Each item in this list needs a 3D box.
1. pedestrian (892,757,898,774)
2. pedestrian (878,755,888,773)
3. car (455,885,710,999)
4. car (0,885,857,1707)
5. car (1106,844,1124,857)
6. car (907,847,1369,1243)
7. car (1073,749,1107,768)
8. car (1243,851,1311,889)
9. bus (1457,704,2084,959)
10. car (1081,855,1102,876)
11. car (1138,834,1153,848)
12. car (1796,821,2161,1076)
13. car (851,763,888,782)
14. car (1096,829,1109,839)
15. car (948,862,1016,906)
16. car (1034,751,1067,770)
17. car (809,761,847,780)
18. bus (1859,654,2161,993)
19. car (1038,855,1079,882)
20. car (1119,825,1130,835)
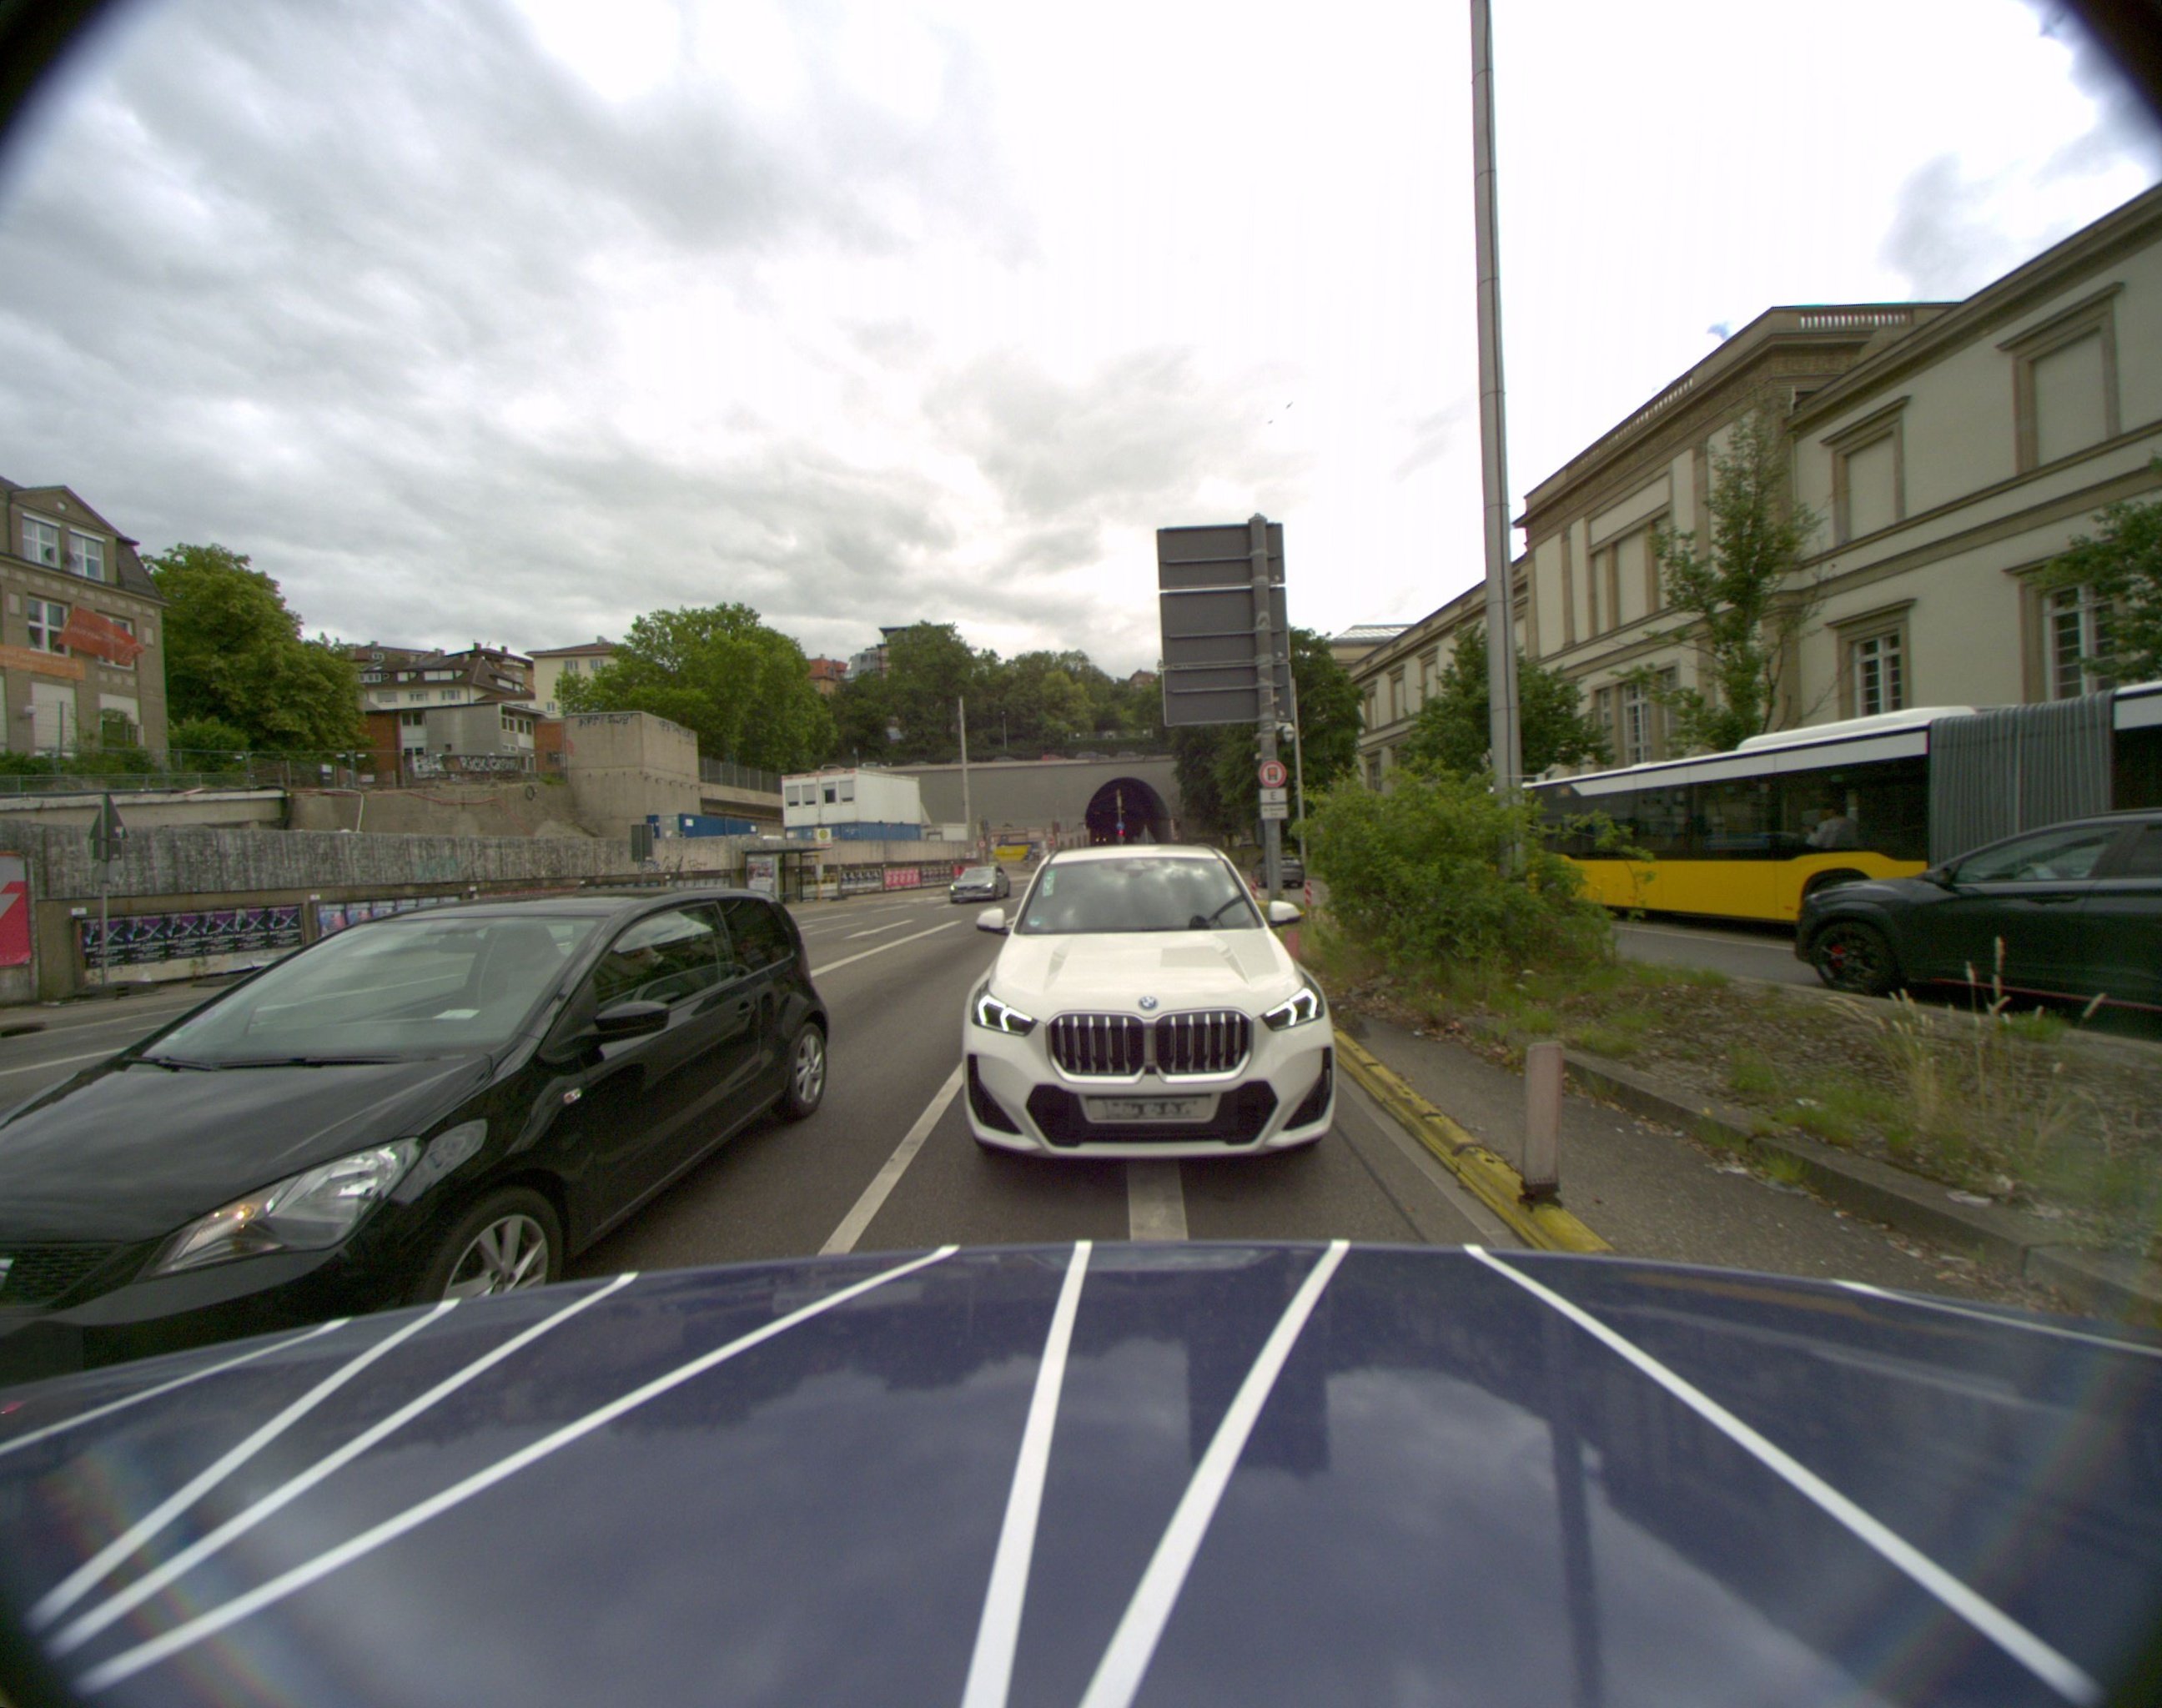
[{"bbox_3d":[-23.289,-11.064,95.280,0.581,2.002,0.577,-2,1,-3],"label":"pedestrian"},{"bbox_3d":[-23.632,-10.763,90.729,0.851,2.002,0.905,-3,1,-3],"label":"pedestrian"},{"bbox_3d":[-8.561,1.417,13.548,1.663,1.471,4.000,-3,0,3],"label":"car"},{"bbox_3d":[-2.502,1.006,3.401,1.667,1.487,3.882,-3,0,2],"label":"car"},{"bbox_3d":[3.727,-0.393,83.802,1.728,1.310,4.000,-3,0,1],"label":"car"},{"bbox_3d":[0.298,0.801,5.111,1.848,1.581,3.882,-3,0,2],"label":"car"},{"bbox_3d":[1.115,-11.813,94.478,3.998,2.002,1.999,-2,1,-2],"label":"car"},{"bbox_3d":[8.462,0.645,33.197,1.711,1.505,4.287,0,0,-3],"label":"car"},{"bbox_3d":[11.168,-0.292,14.495,2.853,3.096,9.747,-3,0,-1],"label":"bus"},{"bbox_3d":[0.875,0.952,65.183,1.705,1.550,4.550,-3,0,1],"label":"car"},{"bbox_3d":[8.214,-1.647,96.985,1.667,1.582,3.882,-1,0,2],"label":"car"},{"bbox_3d":[7.656,0.575,5.255,1.701,1.580,3.882,-3,0,-1],"label":"car"},{"bbox_3d":[-26.000,-10.055,93.368,3.998,2.002,1.999,-2,1,-5],"label":"car"},{"bbox_3d":[3.346,-3.069,119.185,1.730,1.435,4.001,-3,0,5],"label":"car"},{"bbox_3d":[-4.096,1.213,32.164,1.825,1.562,4.655,-3,0,5],"label":"car"},{"bbox_3d":[-3.763,-11.634,94.394,3.998,2.002,1.999,-2,1,-2],"label":"car"},{"bbox_3d":[-31.049,-10.242,93.305,3.998,2.002,1.999,-2,1,-5],"label":"car"},{"bbox_3d":[11.341,-0.334,5.033,2.853,3.096,9.120,-3,0,-1],"label":"bus"},{"bbox_3d":[-1.459,0.929,50.266,1.703,1.550,4.554,-3,0,11],"label":"car"},{"bbox_3d":[7.267,-4.007,126.575,1.667,1.582,3.882,-1,0,2],"label":"car"}]
